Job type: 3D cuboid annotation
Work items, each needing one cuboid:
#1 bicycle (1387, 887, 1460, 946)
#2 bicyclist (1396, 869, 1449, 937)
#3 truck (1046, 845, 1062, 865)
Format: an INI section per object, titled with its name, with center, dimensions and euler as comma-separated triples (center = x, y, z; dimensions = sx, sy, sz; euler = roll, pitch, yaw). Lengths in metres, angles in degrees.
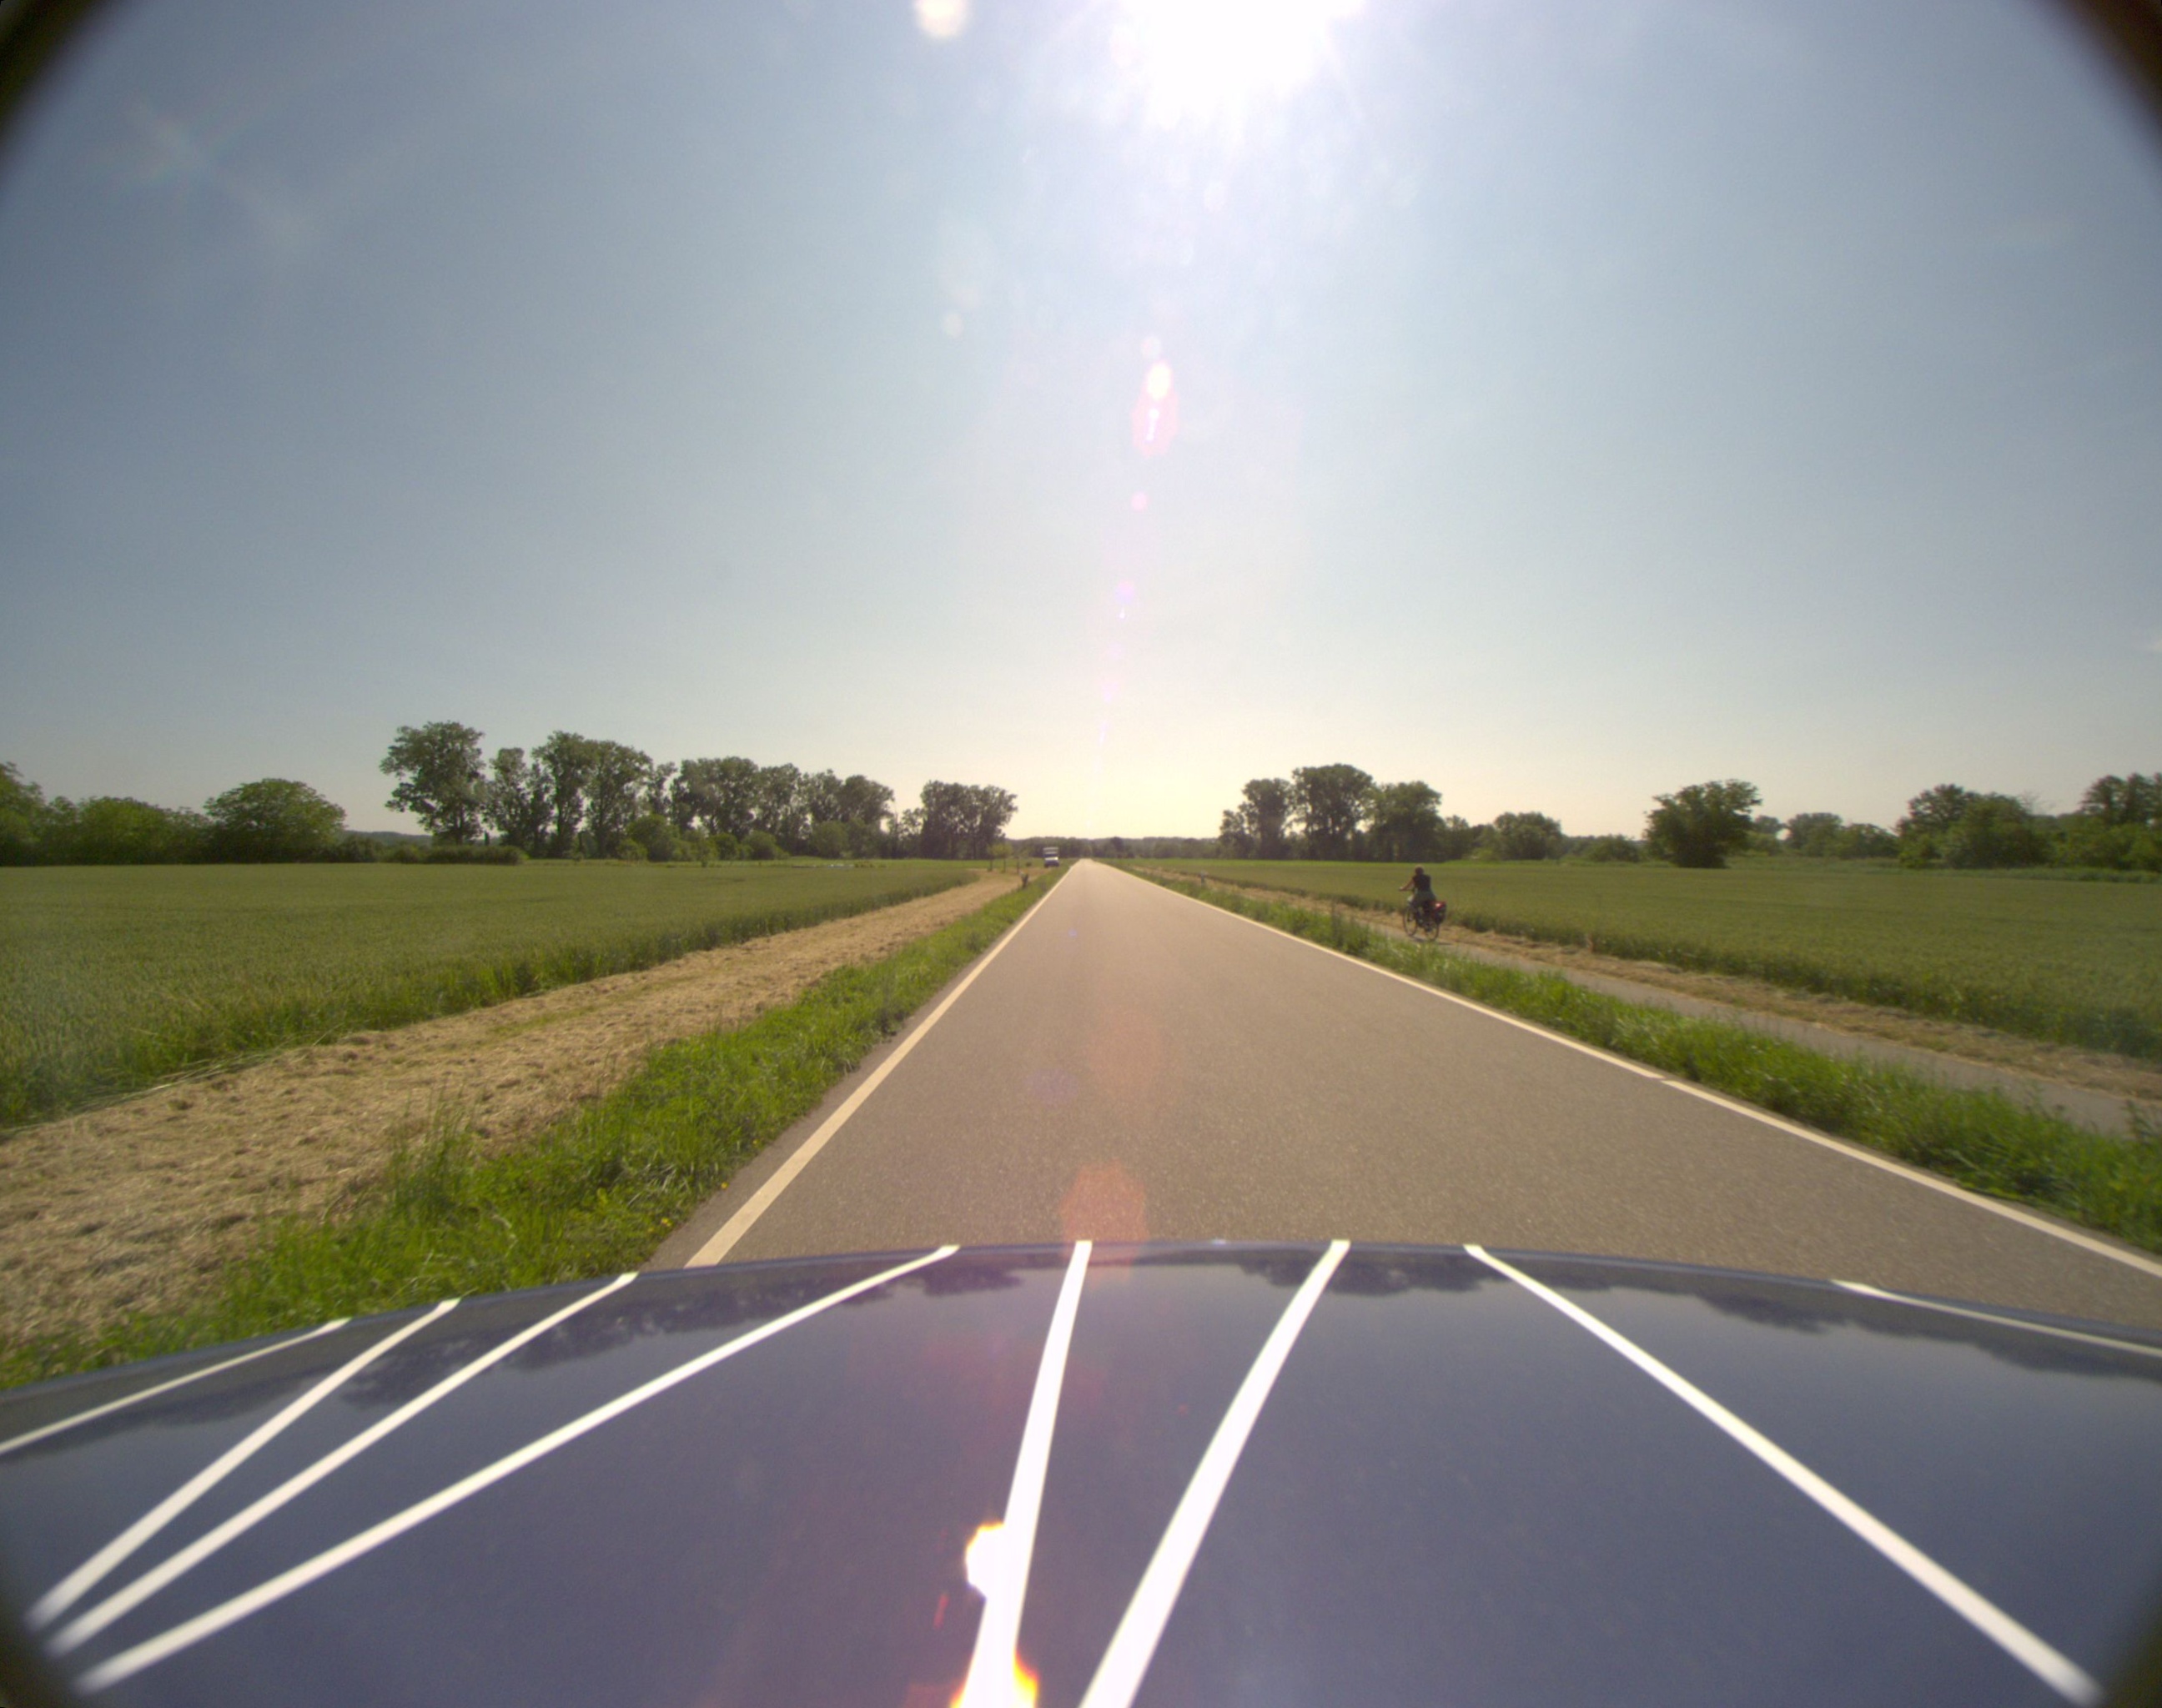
[bicycle]
center = 7.714, 1.381, 17.224
dimensions = 0.743, 1.165, 2.082
euler = 0, 0, 1
[bicyclist]
center = 7.715, 1.089, 17.206
dimensions = 0.743, 1.488, 1.003
euler = 0, 1, 1
[truck]
center = -3.813, 0.119, 108.824
dimensions = 1.998, 2.821, 5.217
euler = 0, 0, 1
